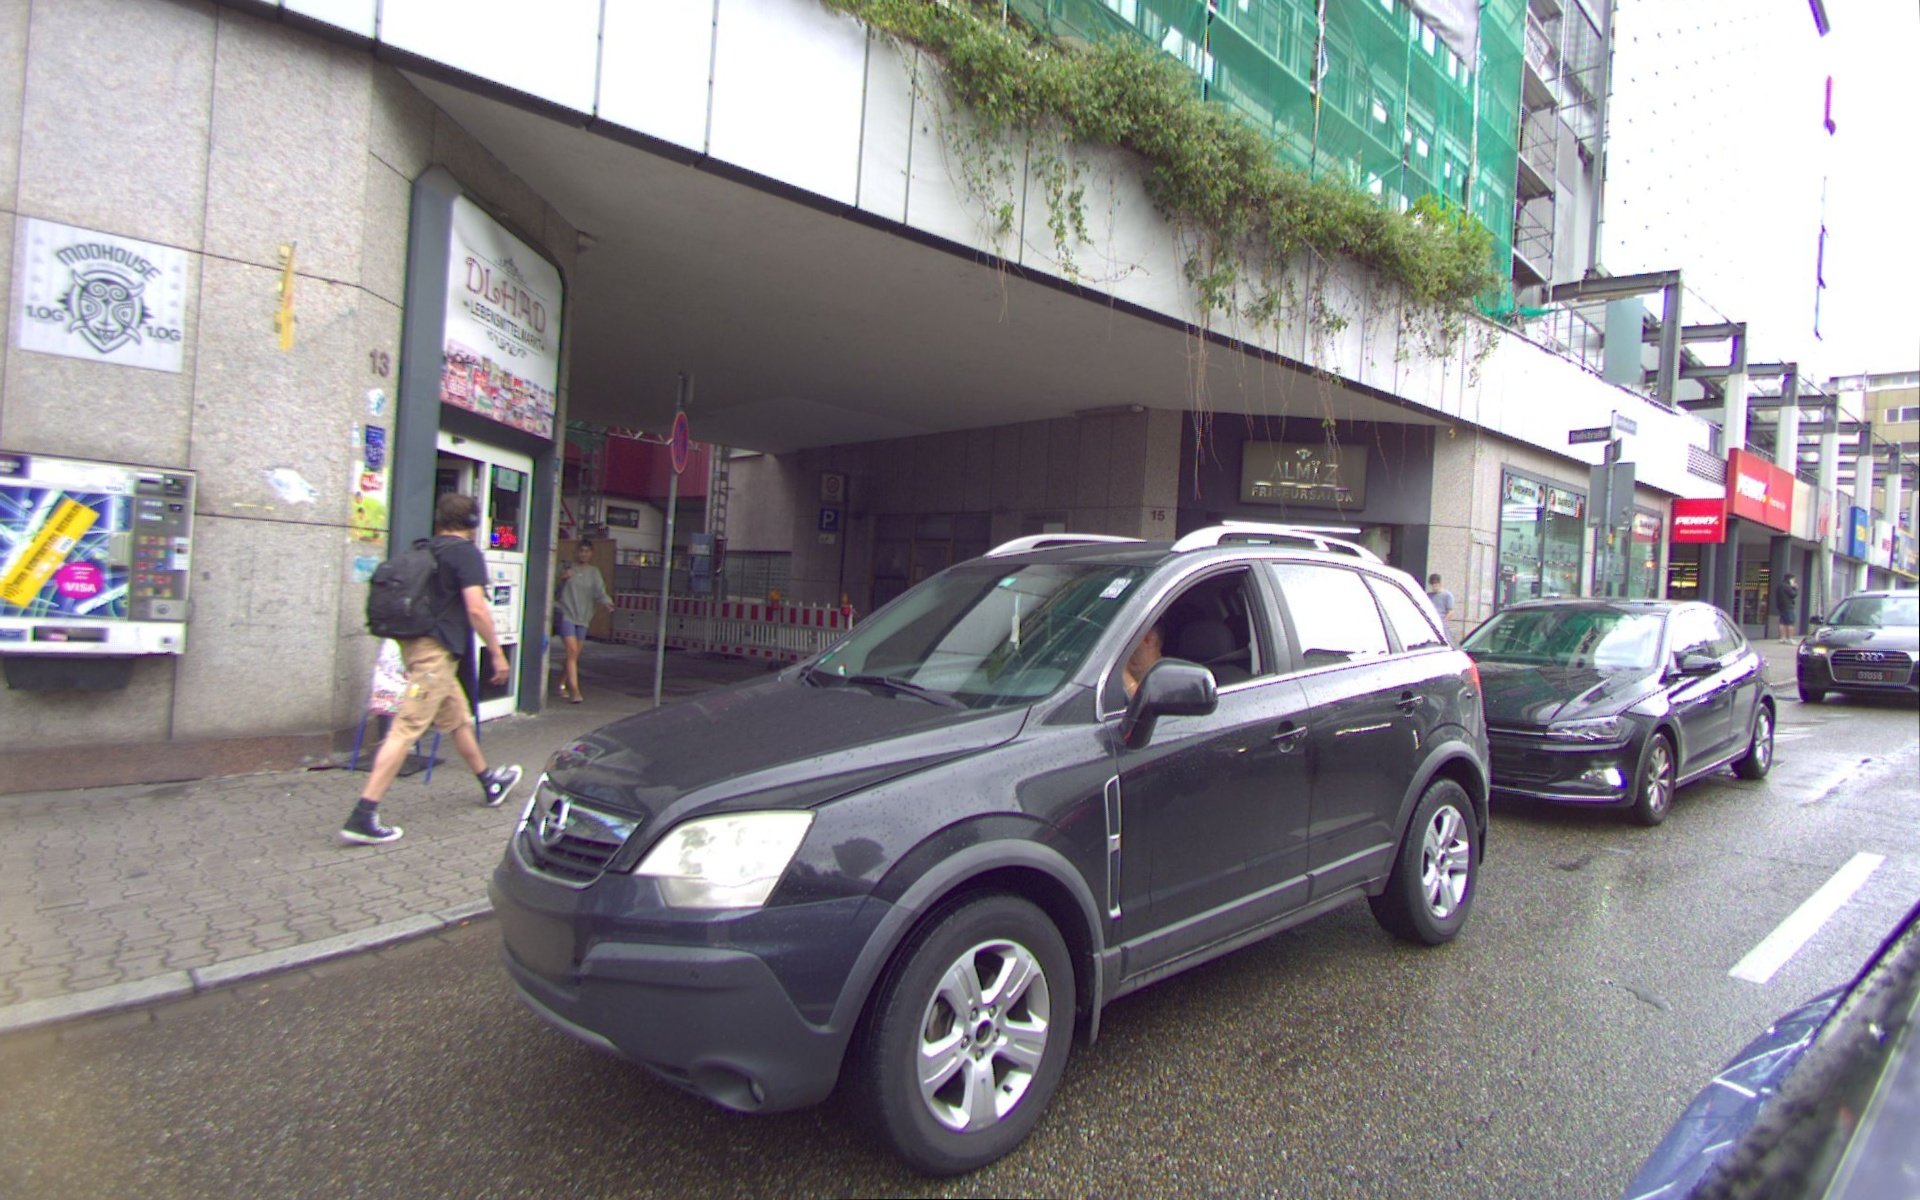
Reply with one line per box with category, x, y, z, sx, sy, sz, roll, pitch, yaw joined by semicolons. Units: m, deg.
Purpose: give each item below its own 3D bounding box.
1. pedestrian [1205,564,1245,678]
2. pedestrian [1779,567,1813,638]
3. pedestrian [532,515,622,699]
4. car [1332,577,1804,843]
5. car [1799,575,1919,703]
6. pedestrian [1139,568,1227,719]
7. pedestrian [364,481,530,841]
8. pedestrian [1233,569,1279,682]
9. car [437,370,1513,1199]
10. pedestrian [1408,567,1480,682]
pedestrian;4.084;0.314;15.603;0.474;1.729;0.467;0;0;1
pedestrian;20.244;0.048;24.512;0.570;1.699;0.509;-1;3;-42
pedestrian;-4.056;0.044;10.688;0.729;1.837;0.774;0;5;-32
car;4.793;0.646;7.756;4.087;1.523;1.759;1;0;-38
car;13.649;0.473;14.438;4.089;1.628;1.841;-1;1;-39
pedestrian;2.865;0.527;13.000;0.760;1.838;0.743;0;3;-40
pedestrian;-2.854;0.283;5.627;0.757;1.837;0.745;0;5;-29
pedestrian;4.341;0.359;14.836;0.630;1.615;0.574;0;1;17
car;0.405;0.458;3.989;4.089;1.788;1.763;1;0;-40
pedestrian;7.189;0.344;15.045;0.718;1.663;0.640;-1;1;-13
